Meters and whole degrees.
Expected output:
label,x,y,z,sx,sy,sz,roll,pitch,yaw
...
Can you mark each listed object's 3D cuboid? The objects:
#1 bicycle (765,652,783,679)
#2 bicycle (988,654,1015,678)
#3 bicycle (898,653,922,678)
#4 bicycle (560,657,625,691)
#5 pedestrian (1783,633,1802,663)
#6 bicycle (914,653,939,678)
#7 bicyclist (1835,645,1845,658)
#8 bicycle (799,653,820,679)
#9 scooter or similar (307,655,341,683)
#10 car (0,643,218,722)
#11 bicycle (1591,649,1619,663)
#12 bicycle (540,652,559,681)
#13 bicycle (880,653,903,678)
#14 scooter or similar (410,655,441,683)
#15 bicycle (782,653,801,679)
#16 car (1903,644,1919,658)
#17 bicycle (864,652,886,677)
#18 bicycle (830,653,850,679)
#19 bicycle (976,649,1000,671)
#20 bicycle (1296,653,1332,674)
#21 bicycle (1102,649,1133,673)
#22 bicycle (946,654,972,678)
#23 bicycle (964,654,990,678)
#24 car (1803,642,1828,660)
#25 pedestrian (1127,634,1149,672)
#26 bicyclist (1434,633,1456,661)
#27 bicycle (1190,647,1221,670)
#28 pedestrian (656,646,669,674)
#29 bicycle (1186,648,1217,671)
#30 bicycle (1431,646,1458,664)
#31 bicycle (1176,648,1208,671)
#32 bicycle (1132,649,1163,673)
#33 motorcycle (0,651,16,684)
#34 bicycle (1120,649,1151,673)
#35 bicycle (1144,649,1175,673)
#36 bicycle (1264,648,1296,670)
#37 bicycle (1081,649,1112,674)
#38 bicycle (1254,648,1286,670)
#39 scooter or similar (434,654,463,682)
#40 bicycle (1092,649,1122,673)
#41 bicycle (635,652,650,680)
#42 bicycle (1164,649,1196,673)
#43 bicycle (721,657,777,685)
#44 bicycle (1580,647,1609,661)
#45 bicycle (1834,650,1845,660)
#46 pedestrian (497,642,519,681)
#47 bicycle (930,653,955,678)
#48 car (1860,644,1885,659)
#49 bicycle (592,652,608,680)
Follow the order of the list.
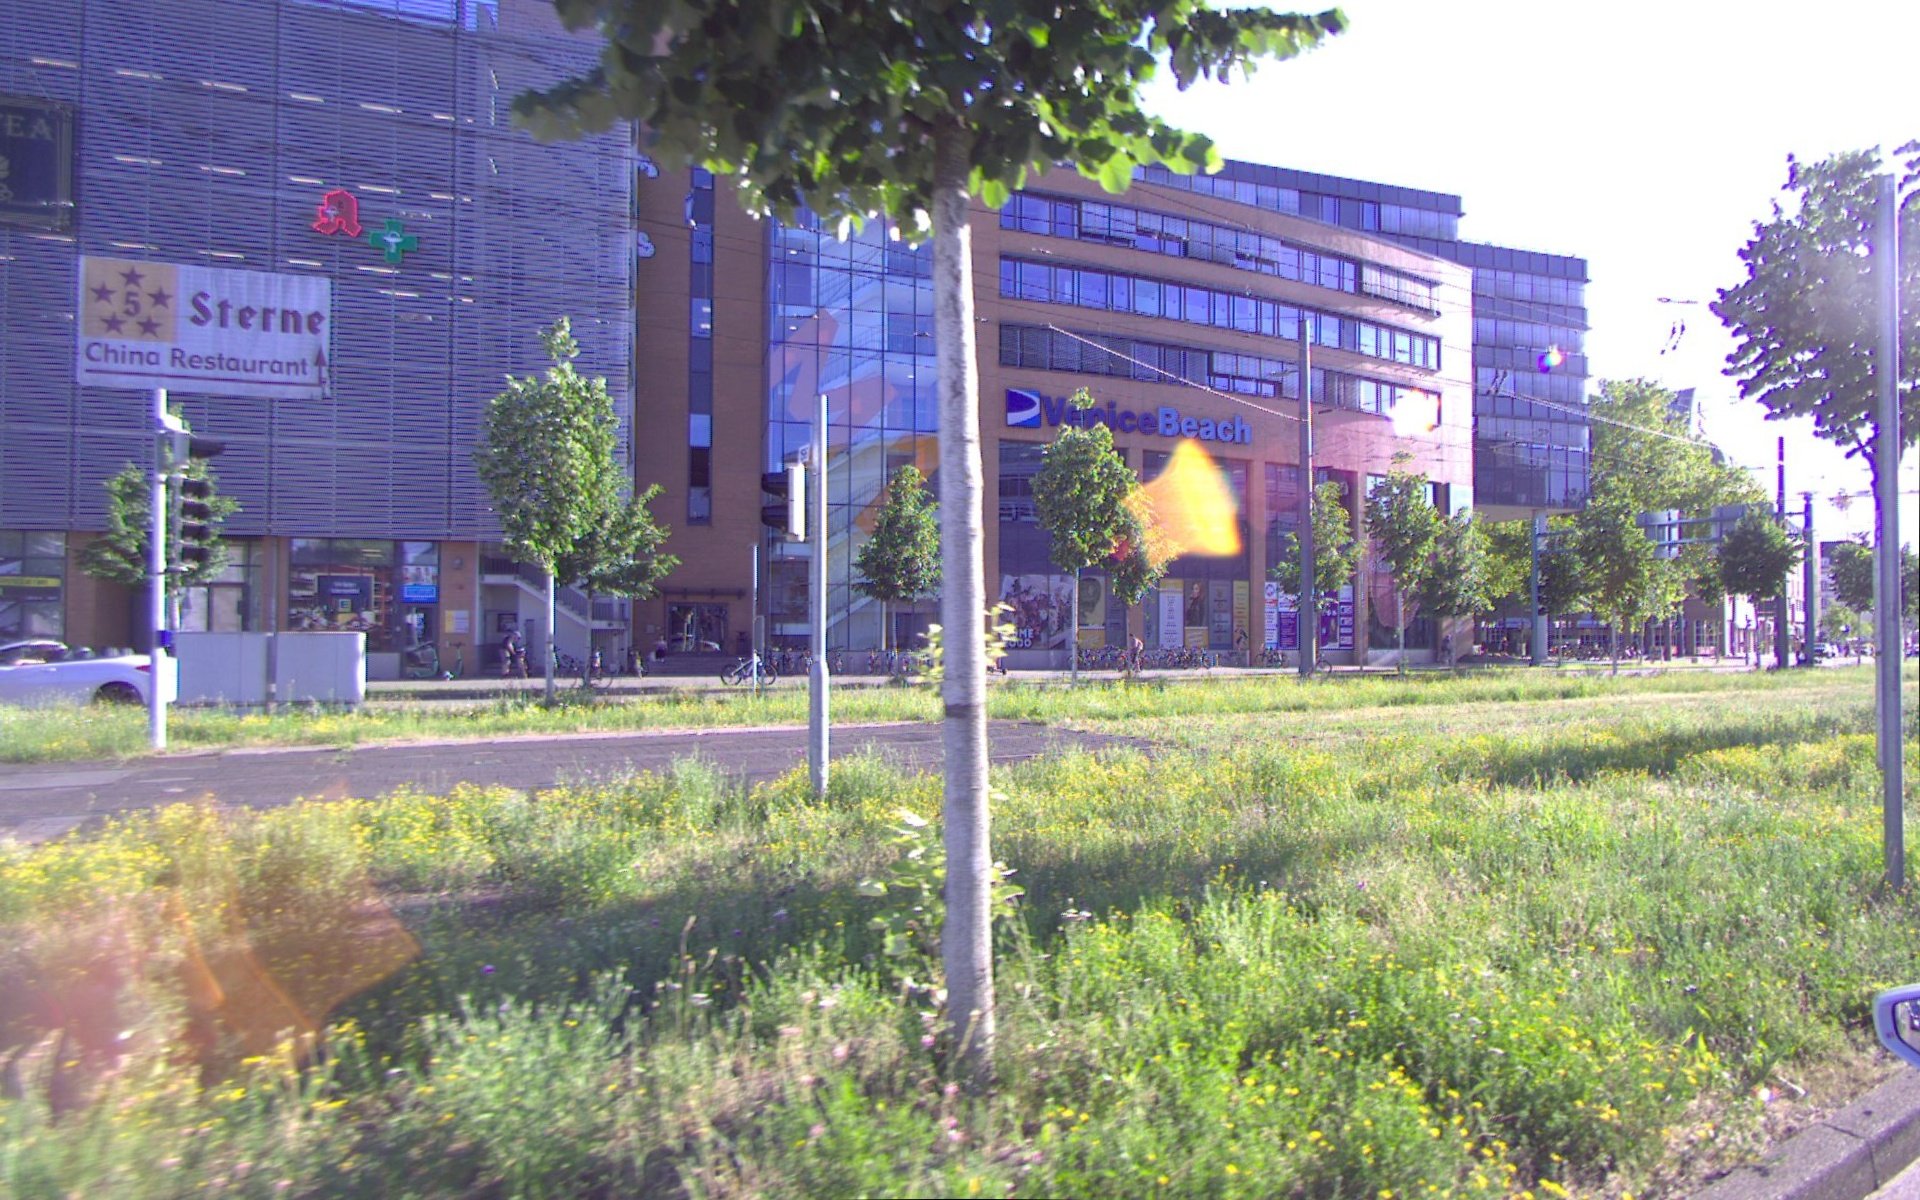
label,x,y,z,sx,sy,sz,roll,pitch,yaw
bicycle,-7.032,2.467,37.956,0.482,0.938,1.765,1,-2,-17
bicycle,1.693,2.690,41.191,0.555,0.938,1.765,1,-2,-17
bicycle,-1.996,2.596,39.819,0.555,0.938,1.765,1,-2,-17
bicycle,-10.637,2.129,29.089,1.745,0.935,0.385,1,-2,-21
pedestrian,56.812,3.279,68.574,0.827,2.040,0.729,1,-1,-29
bicycle,-1.348,2.612,40.053,0.555,0.938,1.765,1,-2,-17
bicyclist,96.637,5.689,110.313,0.750,1.393,0.945,-2,-3,45
bicycle,-5.760,2.499,38.429,0.555,0.938,1.765,1,-2,-17
scooter or similar,-20.693,2.250,32.683,0.887,0.905,0.290,1,-2,-17
car,-16.319,1.457,18.112,4.339,1.345,1.804,1,-3,-21
bicycle,47.799,4.135,74.439,1.740,0.964,0.540,-1,-2,31
bicycle,-13.955,2.260,34.175,0.454,0.938,1.396,1,-2,-17
bicycle,-2.704,2.576,39.507,0.555,0.938,1.765,1,-2,-17
scooter or similar,-17.811,2.288,33.483,0.285,0.905,0.901,0,-2,23
bicycle,-6.421,2.482,38.203,0.482,0.938,1.765,1,-2,-17
car,104.682,5.581,110.084,1.724,1.524,3.863,-1,-3,39
bicycle,-3.348,2.522,39.478,0.482,0.938,1.765,1,-2,-17
bicycle,-4.655,2.552,38.942,0.482,0.938,1.765,1,-2,-17
bicycle,1.243,2.665,44.556,0.555,0.938,1.765,1,-2,-17
bicycle,15.015,2.686,42.595,1.753,0.880,0.460,2,-2,-34
bicycle,7.164,2.779,45.817,0.484,1.063,1.760,1,-2,-25
bicycle,-0.062,2.644,40.459,0.555,0.938,1.765,1,-2,-17
bicycle,0.692,2.662,40.653,0.555,0.938,1.765,1,-2,-17
car,98.203,5.836,115.300,1.972,2.040,3.977,-2,-3,43
pedestrian,7.928,2.365,44.816,0.667,1.690,0.742,1,-2,-27
bicyclist,26.204,2.546,54.230,1.007,1.484,0.673,2,-2,-36
bicycle,11.934,2.848,48.848,0.484,1.063,1.760,1,-2,-25
pedestrian,-11.670,2.338,39.419,0.442,1.068,0.627,1,-2,-20
bicycle,11.581,2.829,48.187,0.484,1.063,1.760,1,-2,-25
bicycle,26.123,2.972,54.186,1.870,0.922,0.494,2,-2,-36
bicycle,11.023,2.811,47.805,0.484,1.063,1.760,1,-2,-25
bicycle,8.692,2.823,46.650,0.484,1.063,1.760,1,-2,-25
motorcycle,-28.443,1.940,28.803,1.992,0.932,0.427,1,-2,-18
bicycle,8.085,2.805,46.312,0.484,1.063,1.760,1,-2,-25
bicycle,9.318,2.841,46.971,0.484,1.063,1.760,1,-2,-25
bicycle,16.141,2.962,50.752,0.484,1.063,1.760,1,-2,-25
bicycle,6.138,2.750,45.286,0.484,1.063,1.760,1,-2,-25
bicycle,15.577,2.946,50.452,0.484,1.063,1.760,1,-2,-25
scooter or similar,-16.978,2.261,33.358,0.285,0.905,0.901,0,-2,20
bicycle,6.651,2.765,45.564,0.484,1.063,1.760,1,-2,-25
bicycle,-11.340,2.355,35.901,0.454,0.938,1.396,1,-2,-17
bicycle,10.390,2.871,47.512,0.484,1.063,1.760,1,-2,-25
bicycle,-6.928,2.319,32.958,1.745,0.880,0.385,1,-2,-21
bicycle,46.682,3.958,73.870,1.746,0.964,0.538,-2,-3,43
bicycle,96.574,6.026,110.266,2.906,1.099,0.643,2,-3,-44
pedestrian,-15.321,2.065,34.062,0.620,1.306,0.447,1,-2,-21
bicycle,-0.708,2.628,40.259,0.555,0.938,1.765,1,-2,-17
car,102.711,5.809,113.043,1.973,1.617,4.711,-3,-3,43
bicycle,-12.675,2.320,35.369,0.454,0.938,1.396,1,-2,-17
